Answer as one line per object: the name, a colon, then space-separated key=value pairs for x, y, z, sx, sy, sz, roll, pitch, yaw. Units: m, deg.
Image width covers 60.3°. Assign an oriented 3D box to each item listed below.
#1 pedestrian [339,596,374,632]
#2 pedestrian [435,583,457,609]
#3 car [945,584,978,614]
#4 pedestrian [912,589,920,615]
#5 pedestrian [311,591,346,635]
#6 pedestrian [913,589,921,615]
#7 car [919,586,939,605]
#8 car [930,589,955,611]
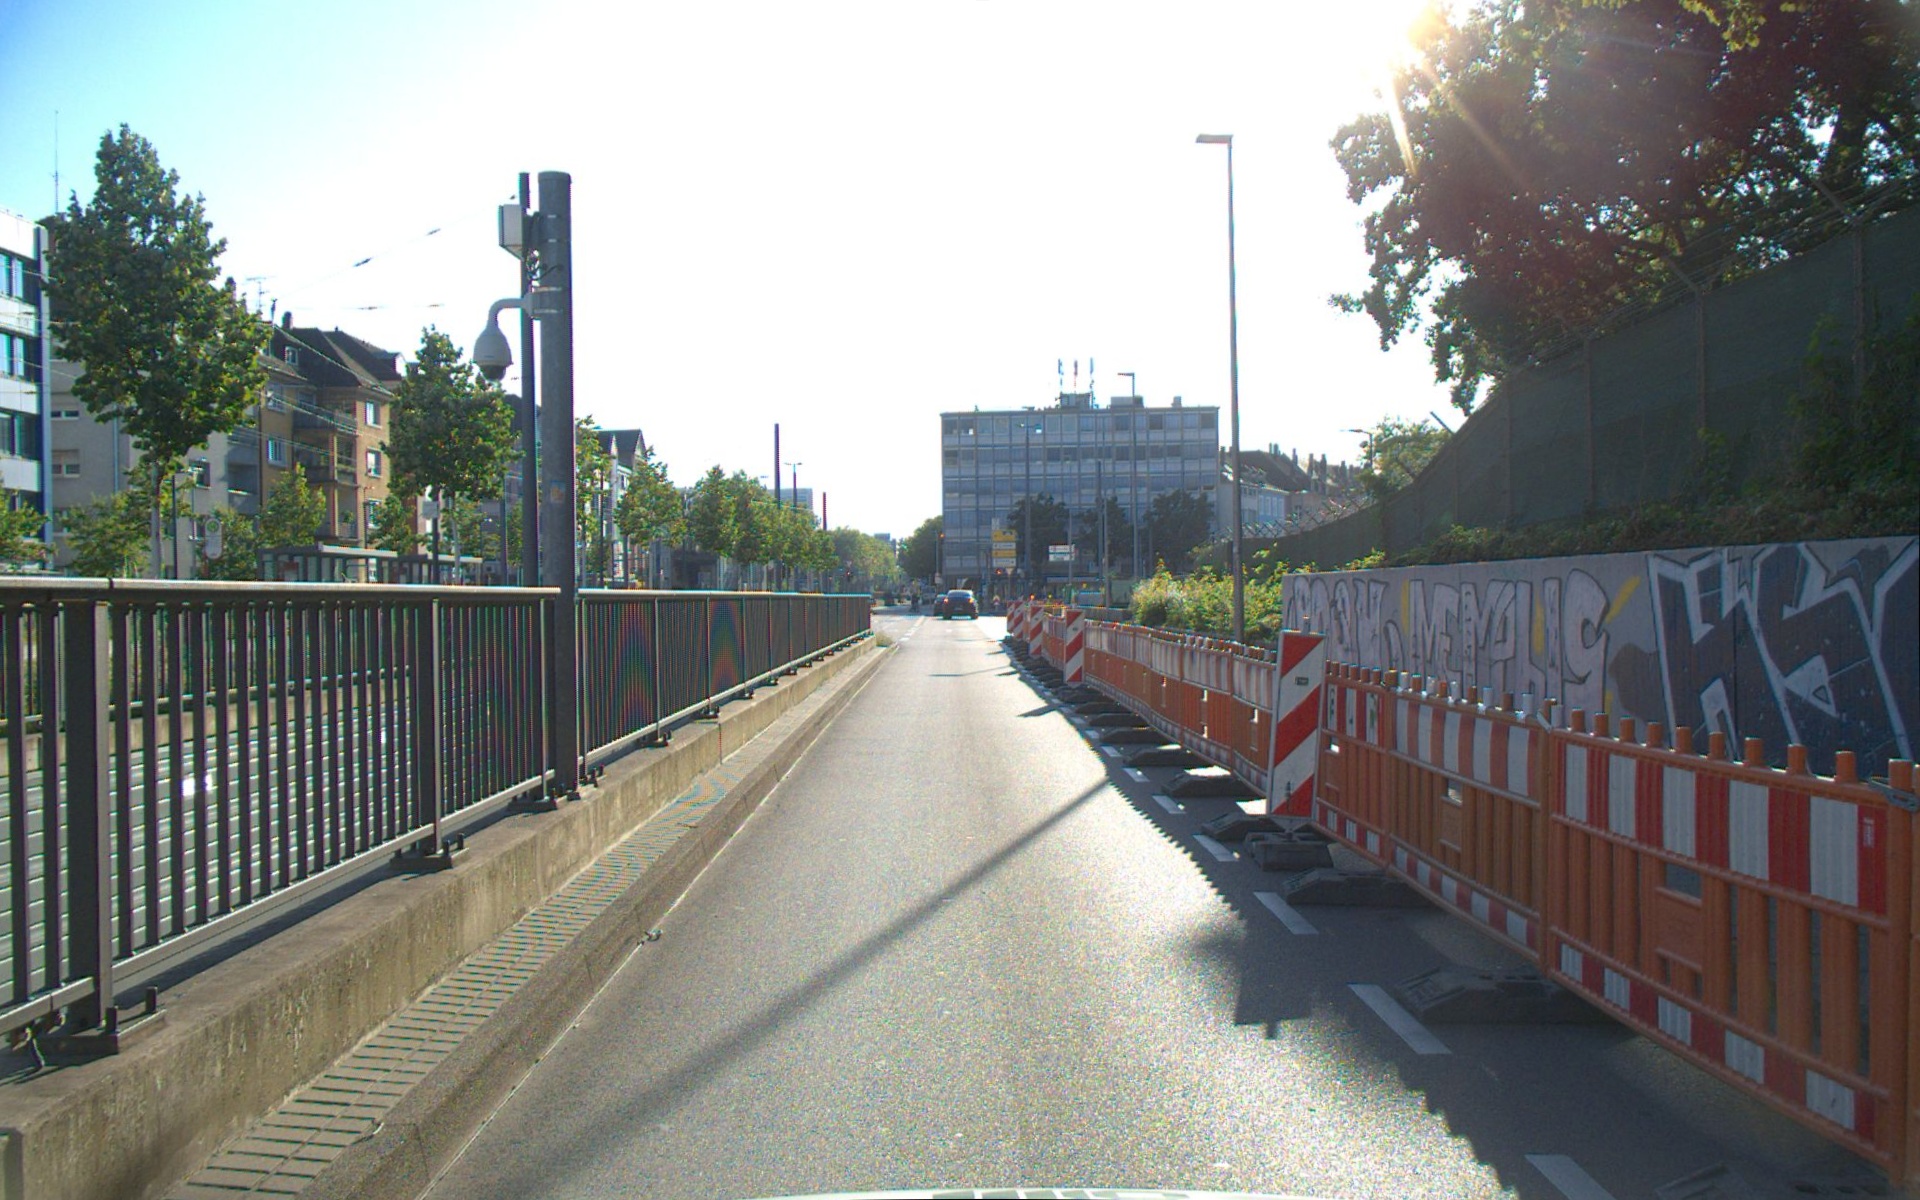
pedestrian: x=-20.993 y=0.494 z=57.538 sx=0.915 sy=1.218 sz=0.764 roll=-1 pitch=0 yaw=-1
pedestrian: x=-20.909 y=-0.161 z=67.272 sx=0.614 sy=1.065 sz=0.794 roll=-1 pitch=0 yaw=-1
car: x=0.079 y=-0.087 z=99.971 sx=1.953 sy=1.723 sz=4.000 roll=0 pitch=1 yaw=-1
pedestrian: x=-3.435 y=0.130 z=129.630 sx=0.600 sy=2.049 sz=0.511 roll=0 pitch=0 yaw=3
pedestrian: x=-20.990 y=0.430 z=54.966 sx=0.821 sy=1.435 sz=0.803 roll=-1 pitch=0 yaw=-1
pedestrian: x=-3.397 y=0.129 z=130.189 sx=0.600 sy=2.049 sz=0.511 roll=0 pitch=0 yaw=3
car: x=-4.119 y=-0.613 z=219.970 sx=2.436 sy=2.434 sz=5.932 roll=-3 pitch=0 yaw=-2
car: x=-1.219 y=-0.016 z=115.784 sx=1.708 sy=1.451 sz=3.999 roll=-1 pitch=0 yaw=-1
